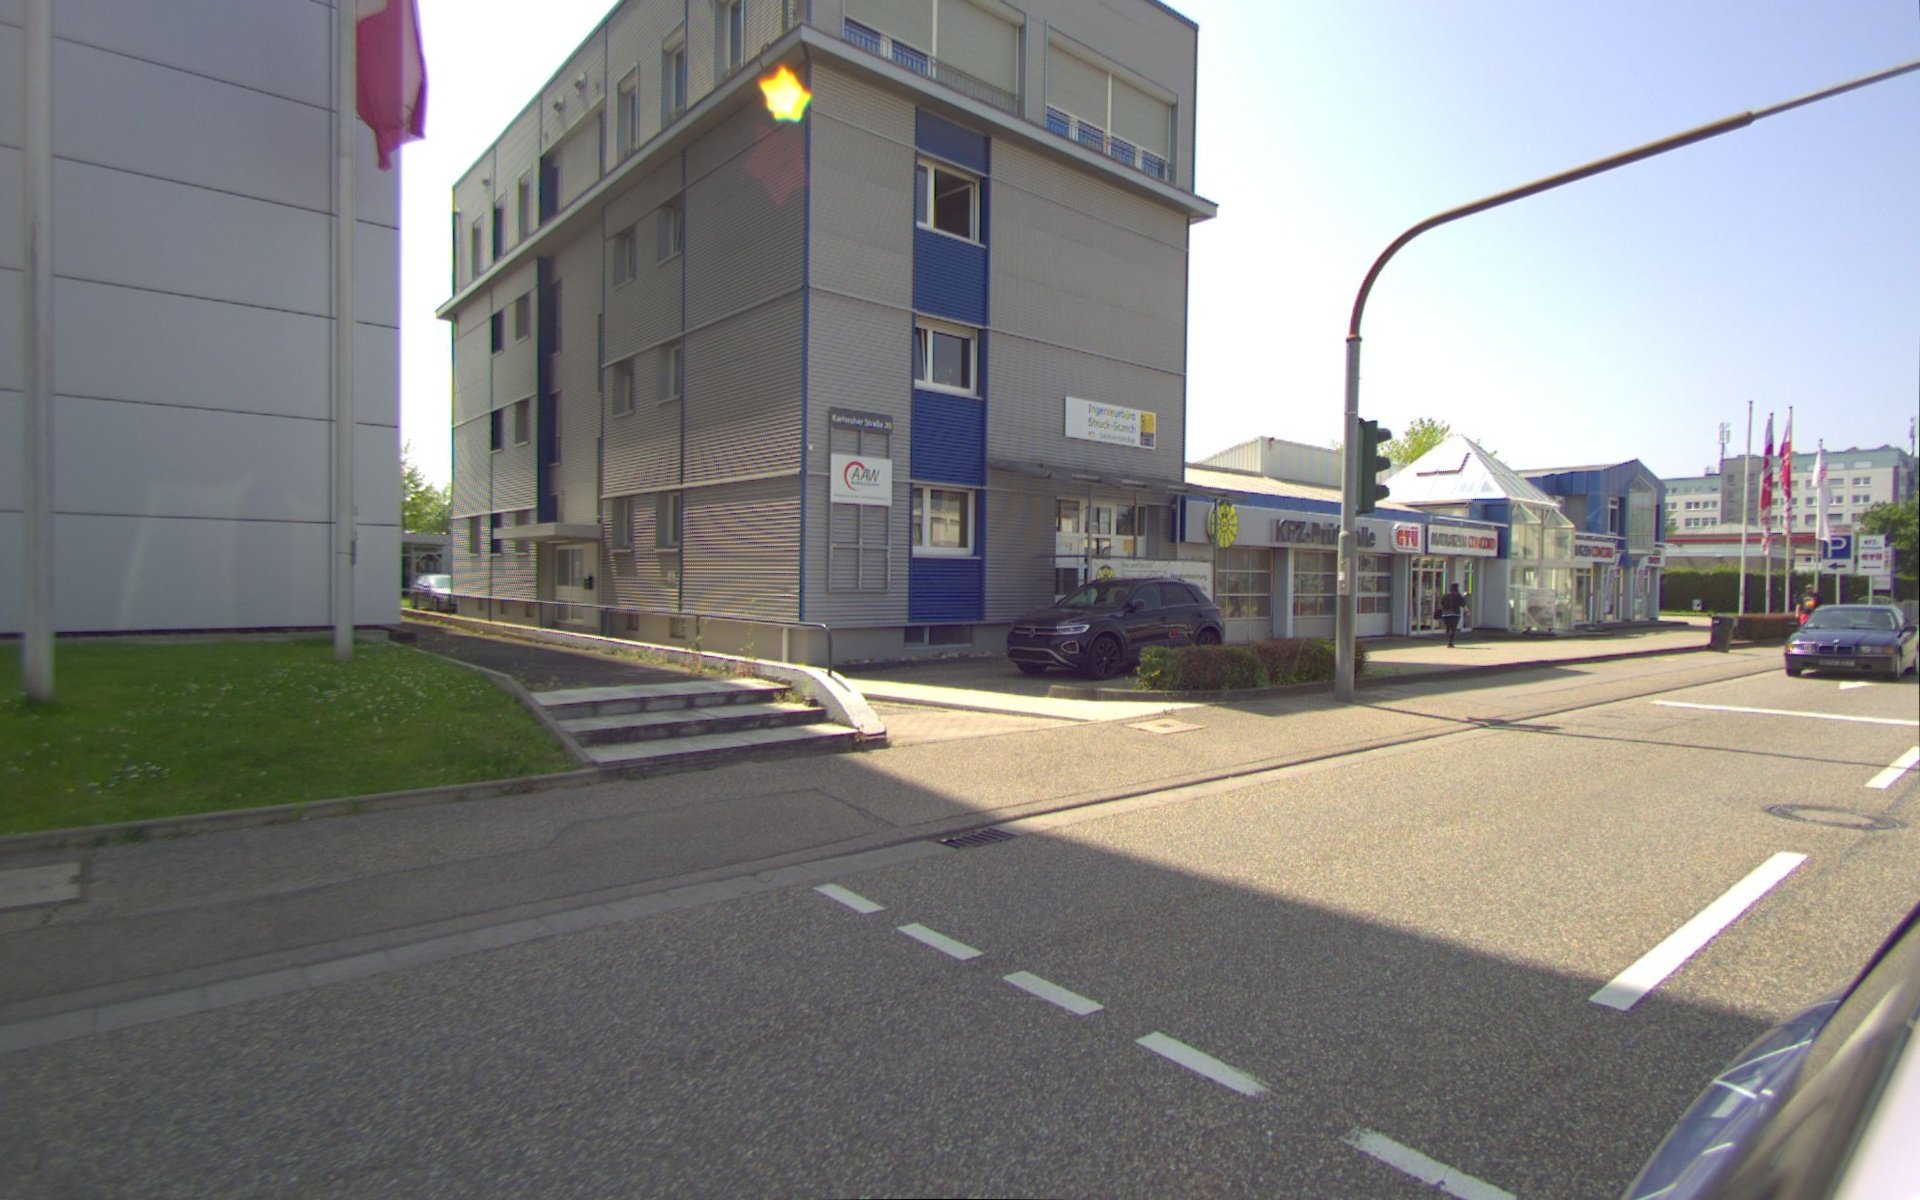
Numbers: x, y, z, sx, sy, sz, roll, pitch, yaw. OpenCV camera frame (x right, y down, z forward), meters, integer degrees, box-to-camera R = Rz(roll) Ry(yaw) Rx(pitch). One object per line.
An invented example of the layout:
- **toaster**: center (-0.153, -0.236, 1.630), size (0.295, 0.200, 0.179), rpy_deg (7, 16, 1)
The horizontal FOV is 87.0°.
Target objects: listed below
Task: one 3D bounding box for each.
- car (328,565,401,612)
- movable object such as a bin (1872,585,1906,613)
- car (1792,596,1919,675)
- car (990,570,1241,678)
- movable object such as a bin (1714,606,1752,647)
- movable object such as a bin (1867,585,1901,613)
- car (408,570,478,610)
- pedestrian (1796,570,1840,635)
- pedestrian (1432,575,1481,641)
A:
- **car**: center (-22.481, -0.476, 38.138), size (1.694, 1.609, 3.859), rpy_deg (0, 3, -41)
- **movable object such as a bin**: center (51.142, -0.084, 55.709), size (1.463, 1.488, 1.133), rpy_deg (0, 2, -40)
- **car**: center (17.474, 0.617, 19.505), size (3.691, 1.356, 1.631), rpy_deg (0, 0, -41)
- **car**: center (2.636, 0.328, 16.617), size (4.123, 1.550, 1.847), rpy_deg (-1, 0, -40)
- **movable object such as a bin**: center (19.162, 0.647, 25.091), size (0.641, 0.930, 0.552), rpy_deg (0, 5, -40)
- **movable object such as a bin**: center (49.945, -0.070, 54.681), size (1.463, 1.488, 1.133), rpy_deg (0, 2, -40)
- **car**: center (-20.478, -0.423, 40.035), size (1.623, 1.393, 3.776), rpy_deg (0, 3, -41)
- **pedestrian**: center (25.209, 0.062, 29.736), size (0.919, 1.869, 0.787), rpy_deg (0, 2, -38)
- **pedestrian**: center (12.842, 0.196, 26.184), size (0.837, 1.647, 0.812), rpy_deg (1, 1, -37)
